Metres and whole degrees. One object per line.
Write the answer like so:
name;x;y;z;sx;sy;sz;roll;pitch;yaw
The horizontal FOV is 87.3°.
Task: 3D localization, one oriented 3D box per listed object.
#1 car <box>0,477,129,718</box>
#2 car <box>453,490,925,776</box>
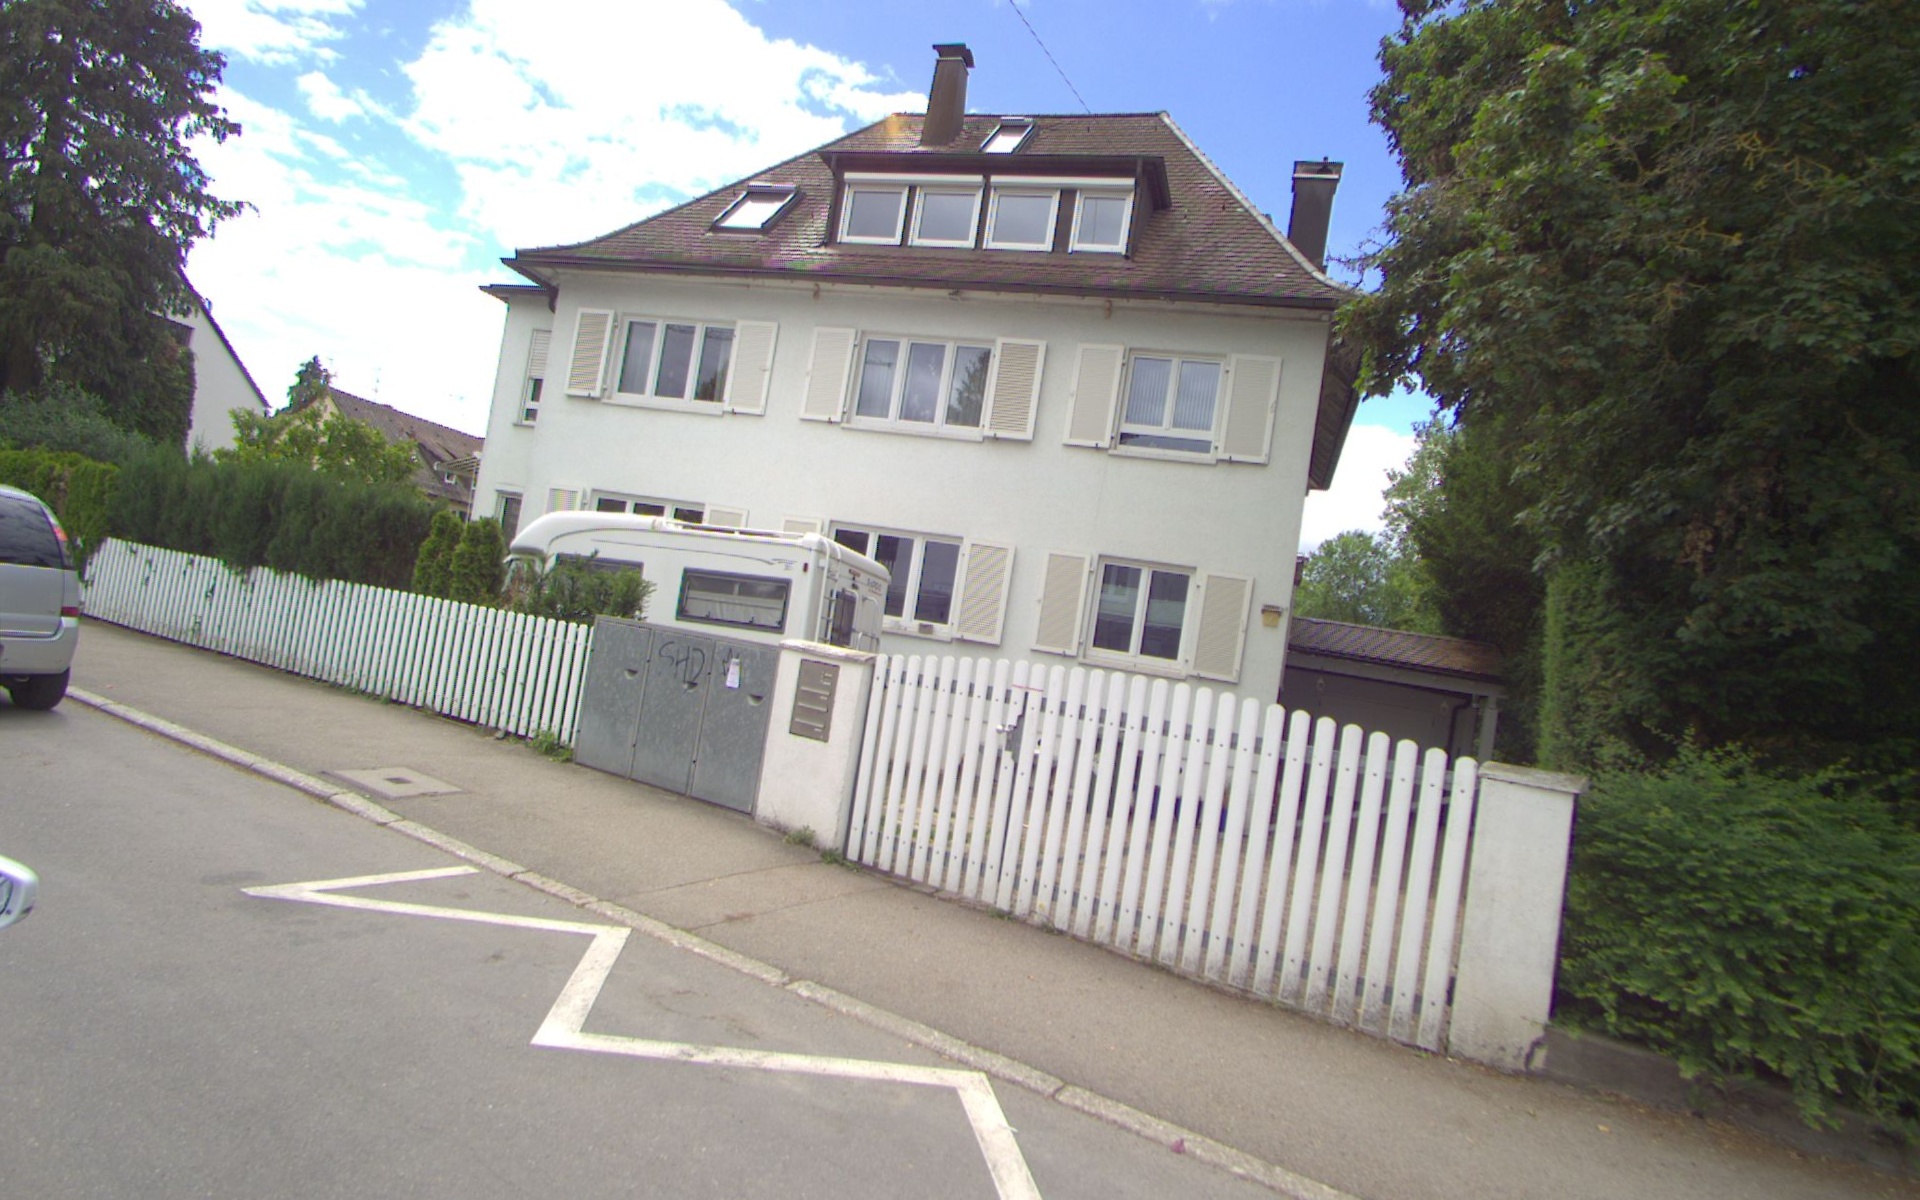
car;-8.243;-0.249;7.430;3.949;1.600;1.764;7;-1;28
car;-3.455;0.432;13.157;5.090;2.708;2.511;8;-4;20
